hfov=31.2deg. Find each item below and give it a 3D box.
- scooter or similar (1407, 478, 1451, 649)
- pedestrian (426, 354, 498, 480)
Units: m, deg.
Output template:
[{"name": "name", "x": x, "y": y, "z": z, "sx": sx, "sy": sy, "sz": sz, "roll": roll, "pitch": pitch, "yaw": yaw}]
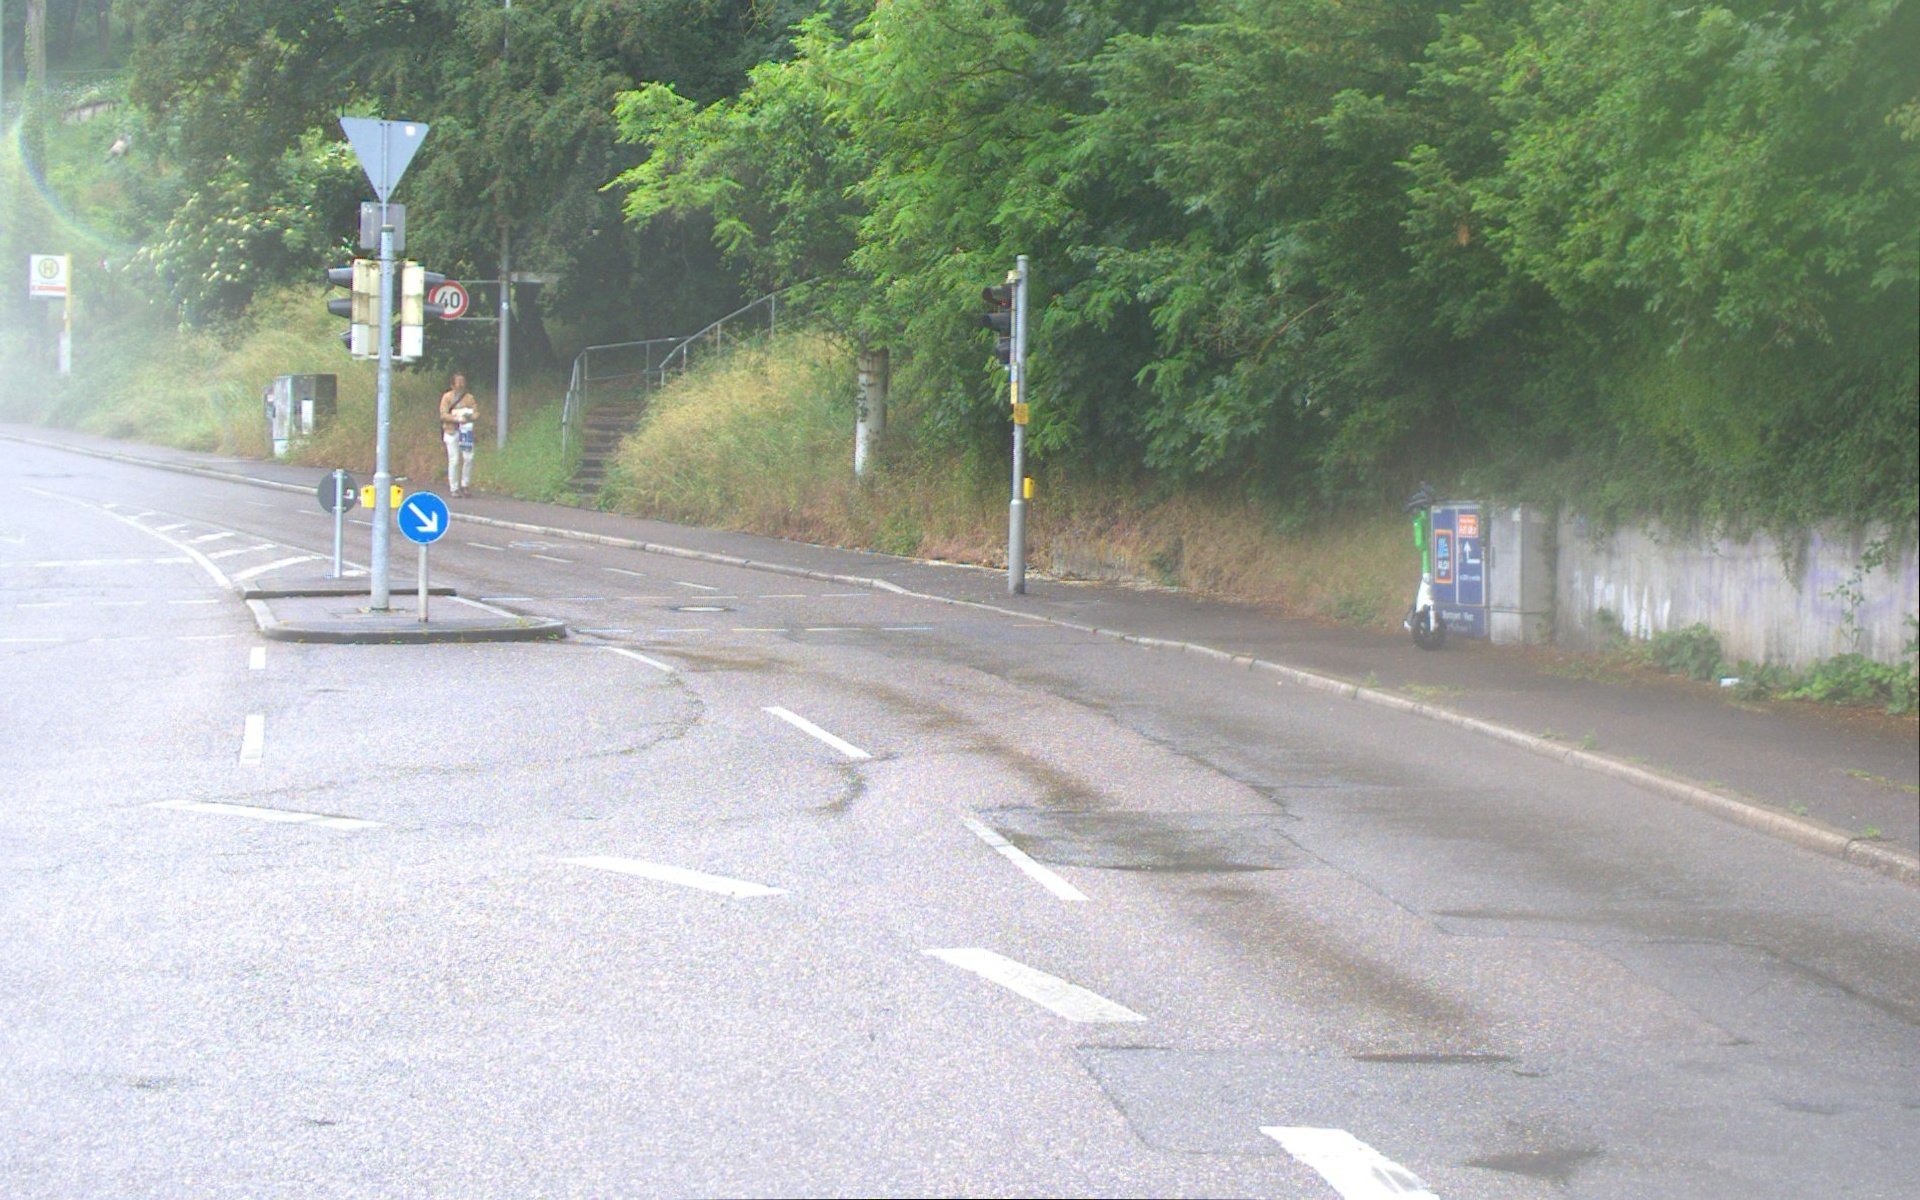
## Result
[{"name": "scooter or similar", "x": 3.608, "y": -0.287, "z": 26.442, "sx": 0.322, "sy": 1.275, "sz": 0.751, "roll": 0, "pitch": 4, "yaw": 7}, {"name": "pedestrian", "x": -7.090, "y": -2.600, "z": 48.946, "sx": 0.880, "sy": 1.730, "sz": 0.866, "roll": 0, "pitch": 0, "yaw": -17}]
